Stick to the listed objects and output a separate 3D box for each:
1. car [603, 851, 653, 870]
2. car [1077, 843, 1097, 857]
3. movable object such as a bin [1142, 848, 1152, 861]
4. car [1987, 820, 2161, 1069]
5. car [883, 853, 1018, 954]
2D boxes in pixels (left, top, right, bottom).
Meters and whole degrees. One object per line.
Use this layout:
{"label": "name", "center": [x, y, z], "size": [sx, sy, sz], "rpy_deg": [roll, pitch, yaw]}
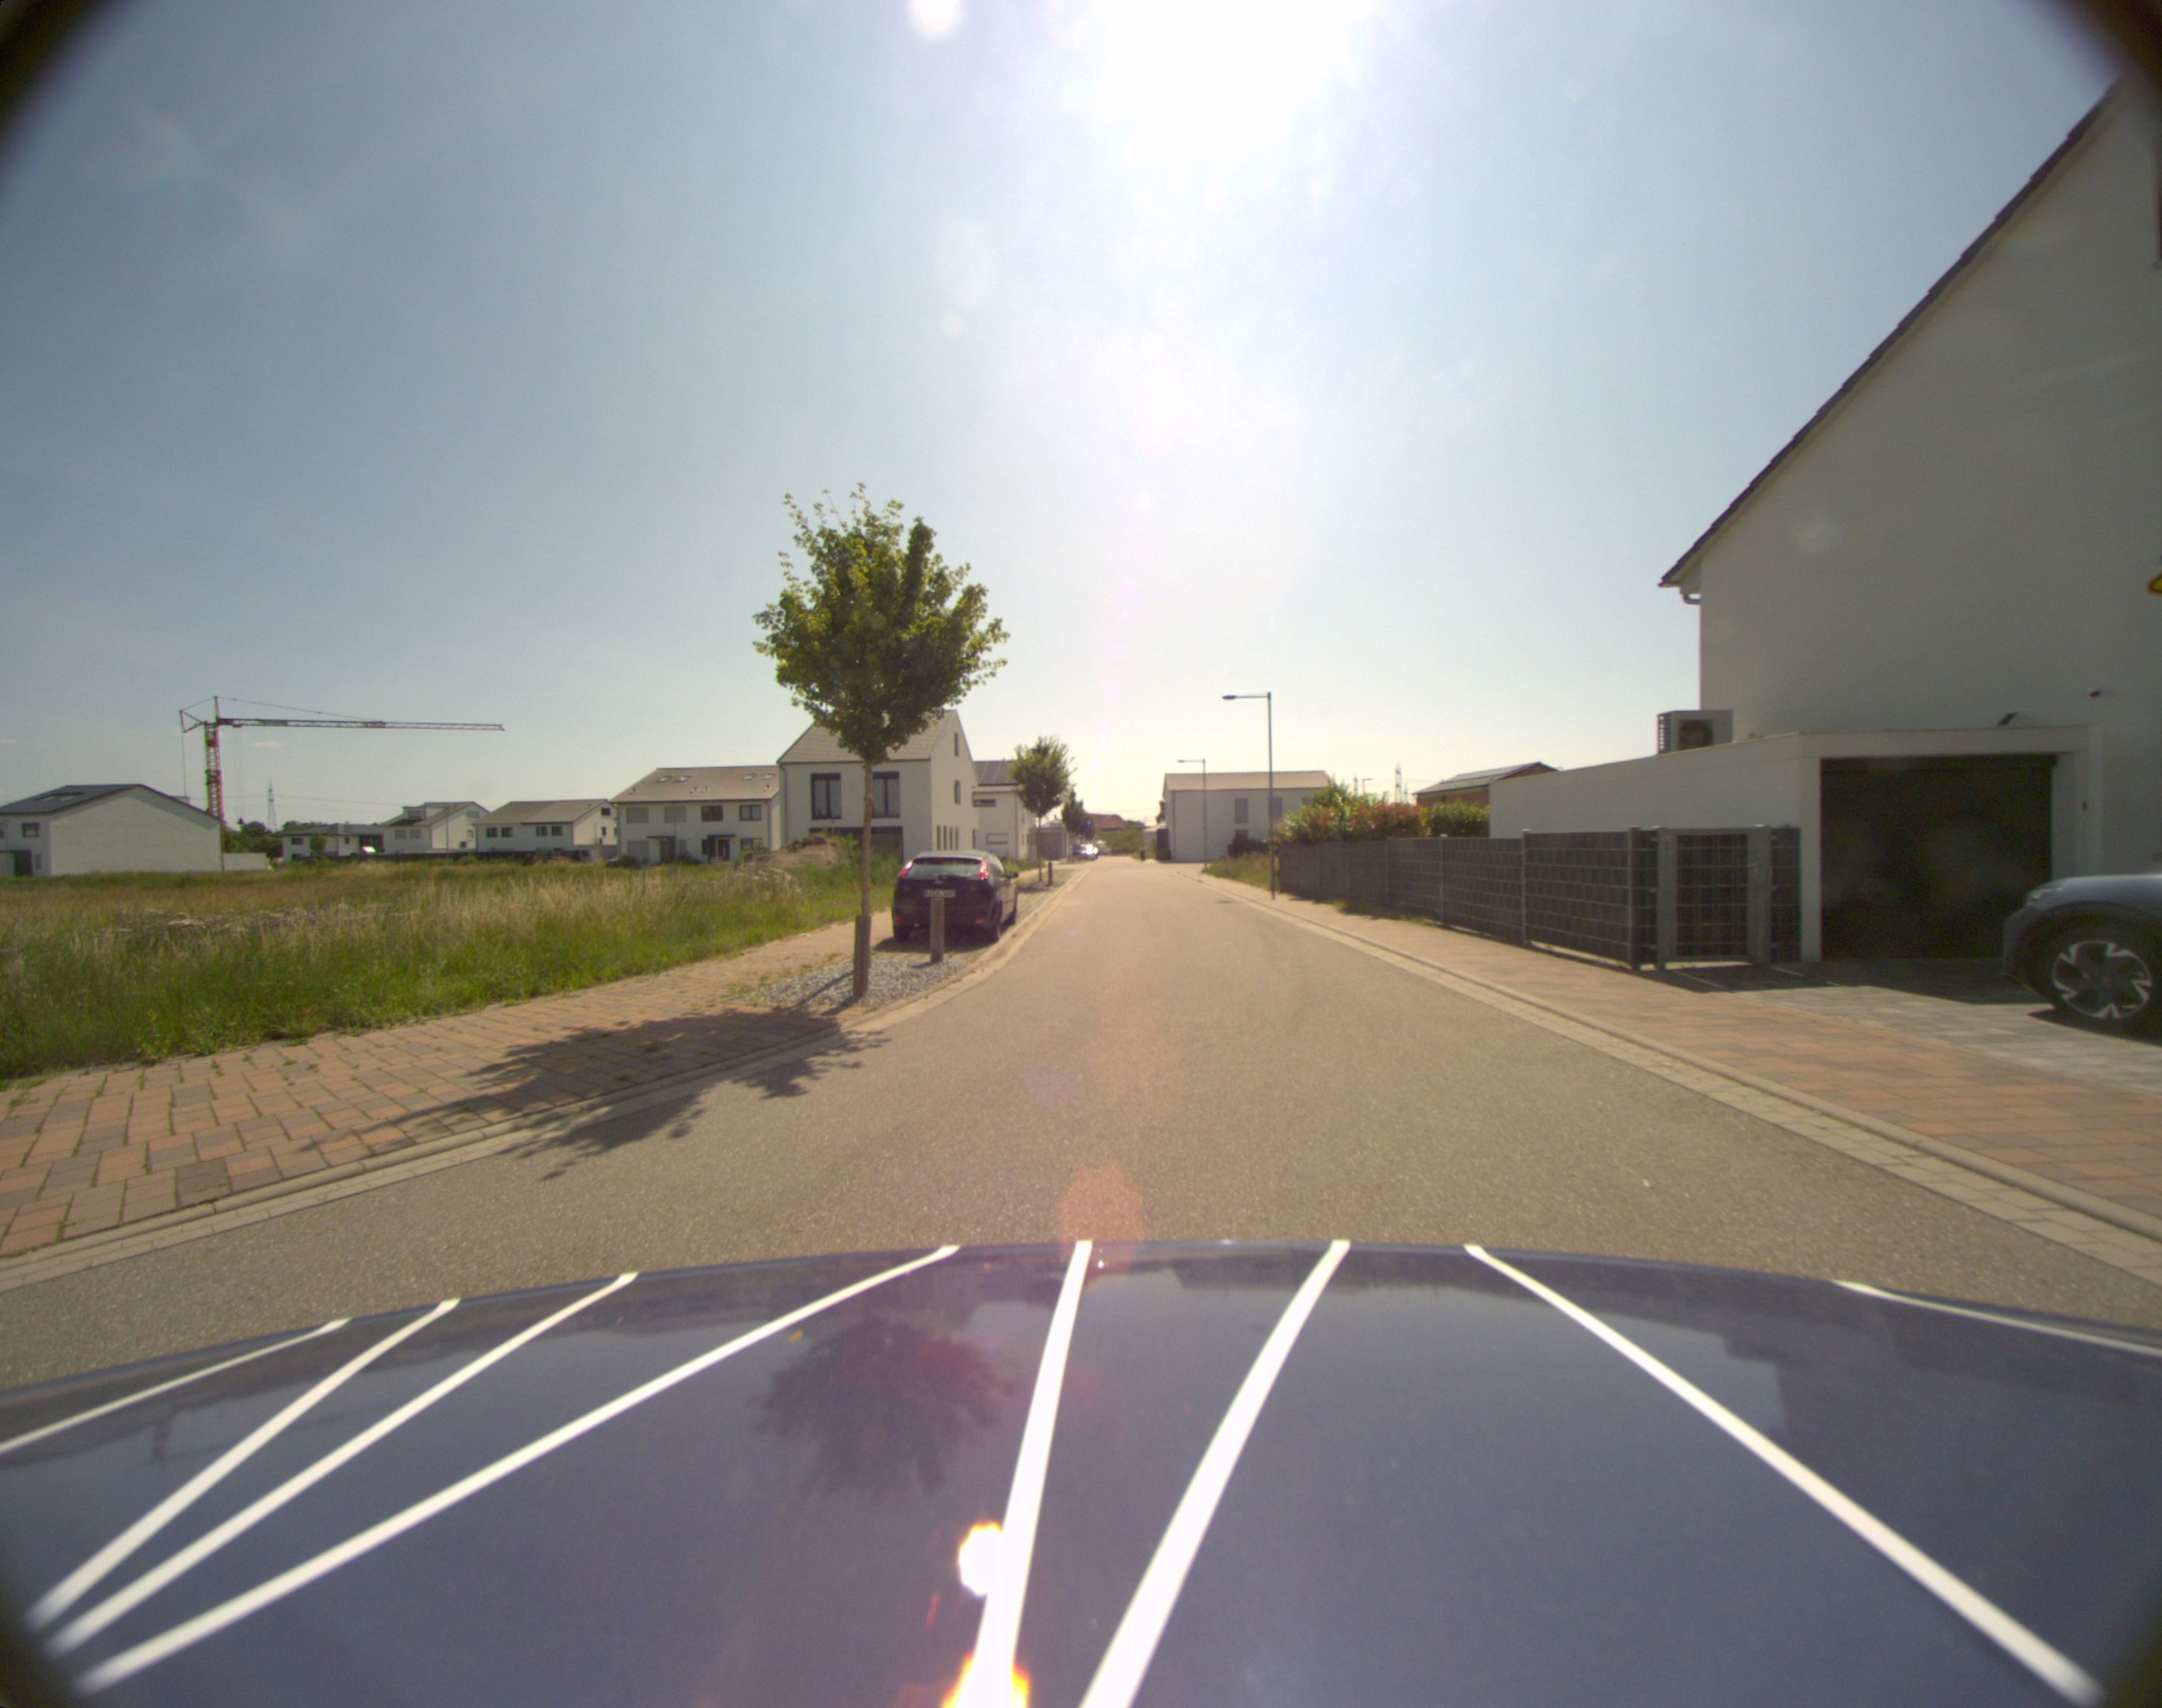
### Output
{"label": "car", "center": [-41.725, 0.573, 70.108], "size": [1.813, 1.565, 4.002], "rpy_deg": [-1, 1, 8]}
{"label": "car", "center": [0.720, -0.481, 84.530], "size": [1.924, 1.412, 4.421], "rpy_deg": [-1, 1, 3]}
{"label": "movable object such as a bin", "center": [5.881, 0.063, 67.544], "size": [0.807, 1.092, 0.672], "rpy_deg": [-1, 1, 5]}
{"label": "car", "center": [7.672, 0.576, 3.462], "size": [1.958, 1.549, 4.351], "rpy_deg": [0, 1, 2]}
{"label": "car", "center": [-2.188, 0.753, 13.829], "size": [1.848, 1.485, 4.192], "rpy_deg": [-2, 0, -3]}
